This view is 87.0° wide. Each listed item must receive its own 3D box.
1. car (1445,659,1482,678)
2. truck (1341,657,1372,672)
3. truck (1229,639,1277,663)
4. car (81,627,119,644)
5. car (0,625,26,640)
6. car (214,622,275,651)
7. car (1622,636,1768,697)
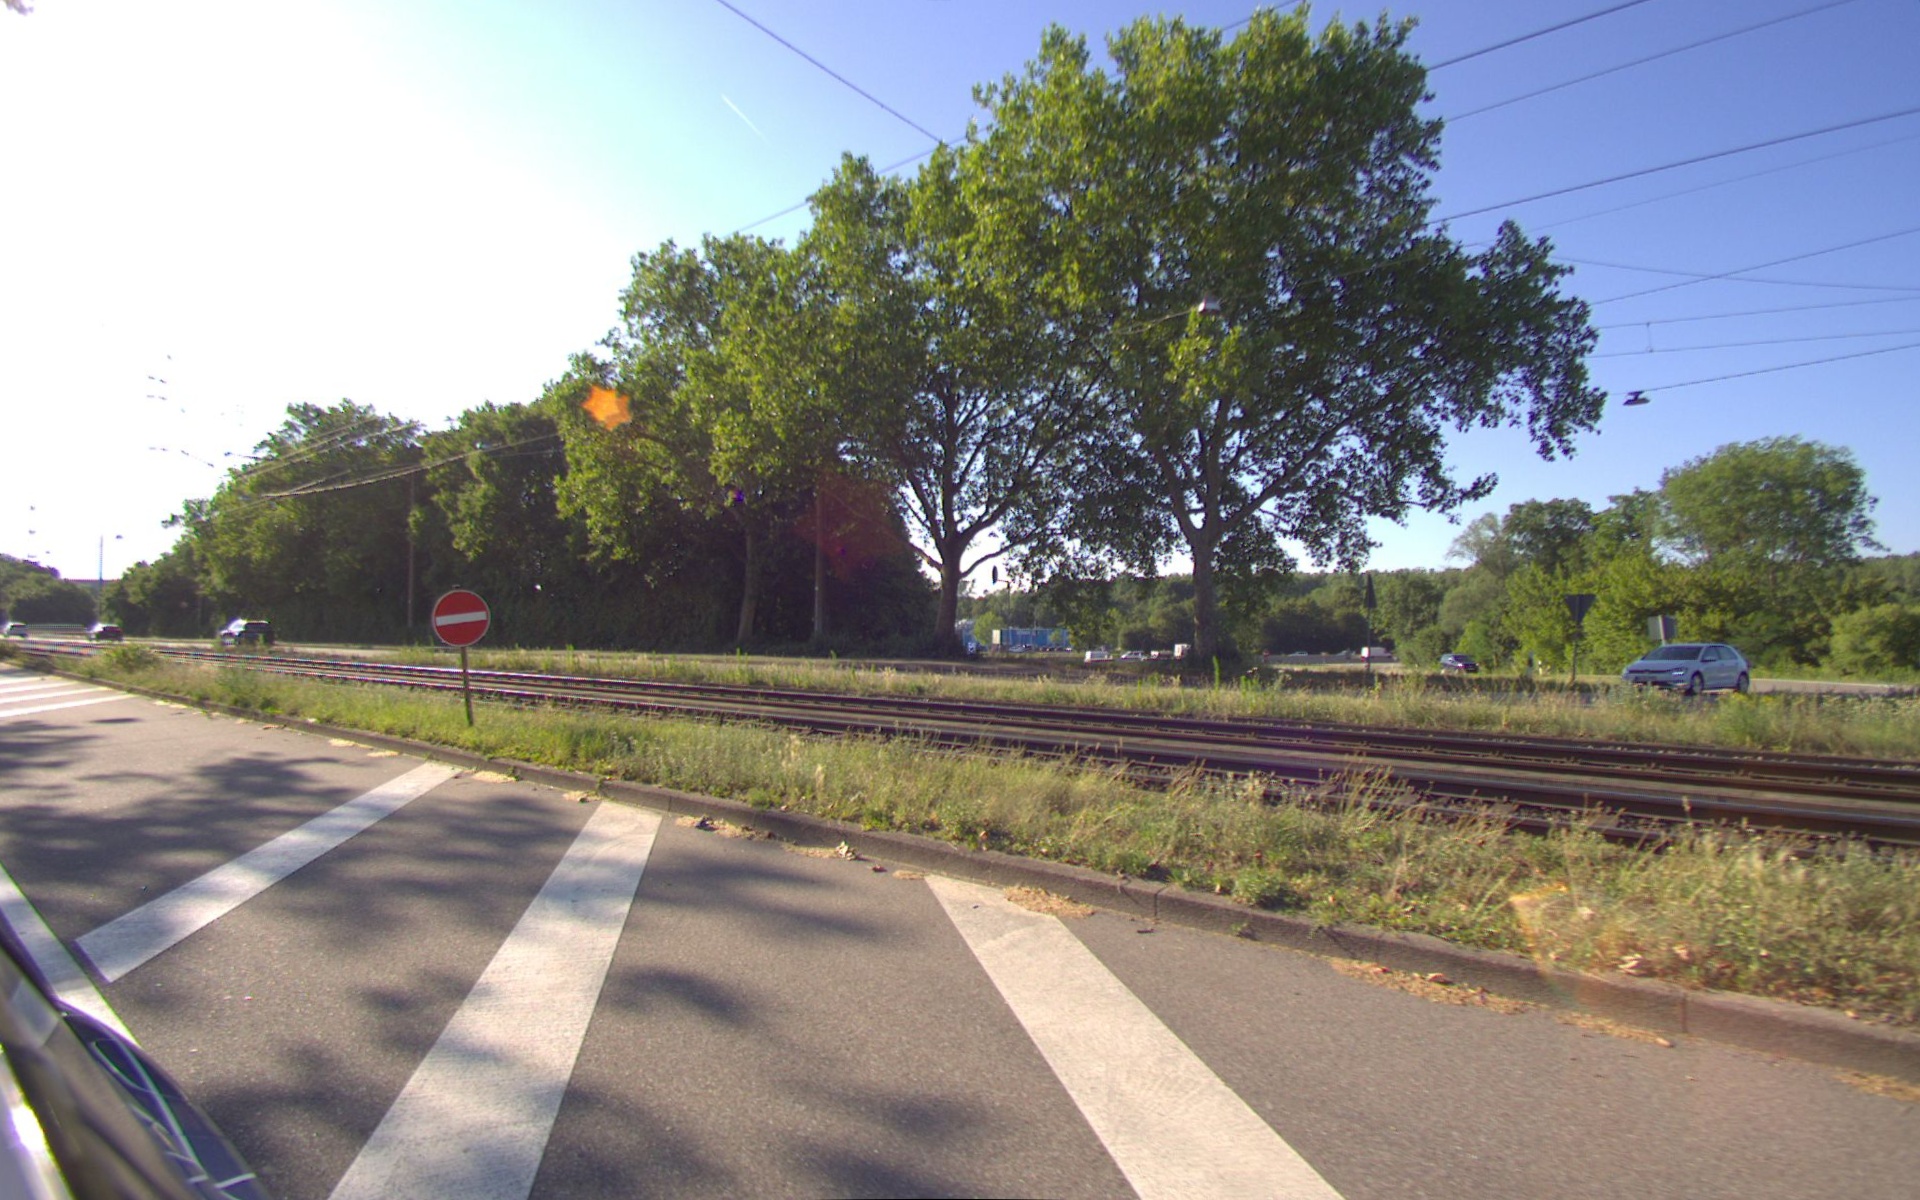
[{"bbox_3d":[43.367,5.907,87.253,1.640,1.537,4.113,3,-3,10],"label":"car"},{"bbox_3d":[45.709,7.464,116.813,1.634,1.537,4.130,4,-3,-4],"label":"truck"},{"bbox_3d":[33.403,5.817,115.497,4.944,2.540,2.072,-1,-1,-20],"label":"truck"},{"bbox_3d":[-74.719,3.092,87.883,4.343,1.479,1.693,-2,-4,39],"label":"car"},{"bbox_3d":[-112.648,3.831,120.039,4.938,1.720,1.943,-1,-4,39],"label":"car"},{"bbox_3d":[-45.244,2.305,63.961,4.935,1.707,1.879,-1,-3,39],"label":"car"},{"bbox_3d":[20.483,1.832,28.162,4.200,1.537,1.664,2,-1,-29],"label":"car"}]
